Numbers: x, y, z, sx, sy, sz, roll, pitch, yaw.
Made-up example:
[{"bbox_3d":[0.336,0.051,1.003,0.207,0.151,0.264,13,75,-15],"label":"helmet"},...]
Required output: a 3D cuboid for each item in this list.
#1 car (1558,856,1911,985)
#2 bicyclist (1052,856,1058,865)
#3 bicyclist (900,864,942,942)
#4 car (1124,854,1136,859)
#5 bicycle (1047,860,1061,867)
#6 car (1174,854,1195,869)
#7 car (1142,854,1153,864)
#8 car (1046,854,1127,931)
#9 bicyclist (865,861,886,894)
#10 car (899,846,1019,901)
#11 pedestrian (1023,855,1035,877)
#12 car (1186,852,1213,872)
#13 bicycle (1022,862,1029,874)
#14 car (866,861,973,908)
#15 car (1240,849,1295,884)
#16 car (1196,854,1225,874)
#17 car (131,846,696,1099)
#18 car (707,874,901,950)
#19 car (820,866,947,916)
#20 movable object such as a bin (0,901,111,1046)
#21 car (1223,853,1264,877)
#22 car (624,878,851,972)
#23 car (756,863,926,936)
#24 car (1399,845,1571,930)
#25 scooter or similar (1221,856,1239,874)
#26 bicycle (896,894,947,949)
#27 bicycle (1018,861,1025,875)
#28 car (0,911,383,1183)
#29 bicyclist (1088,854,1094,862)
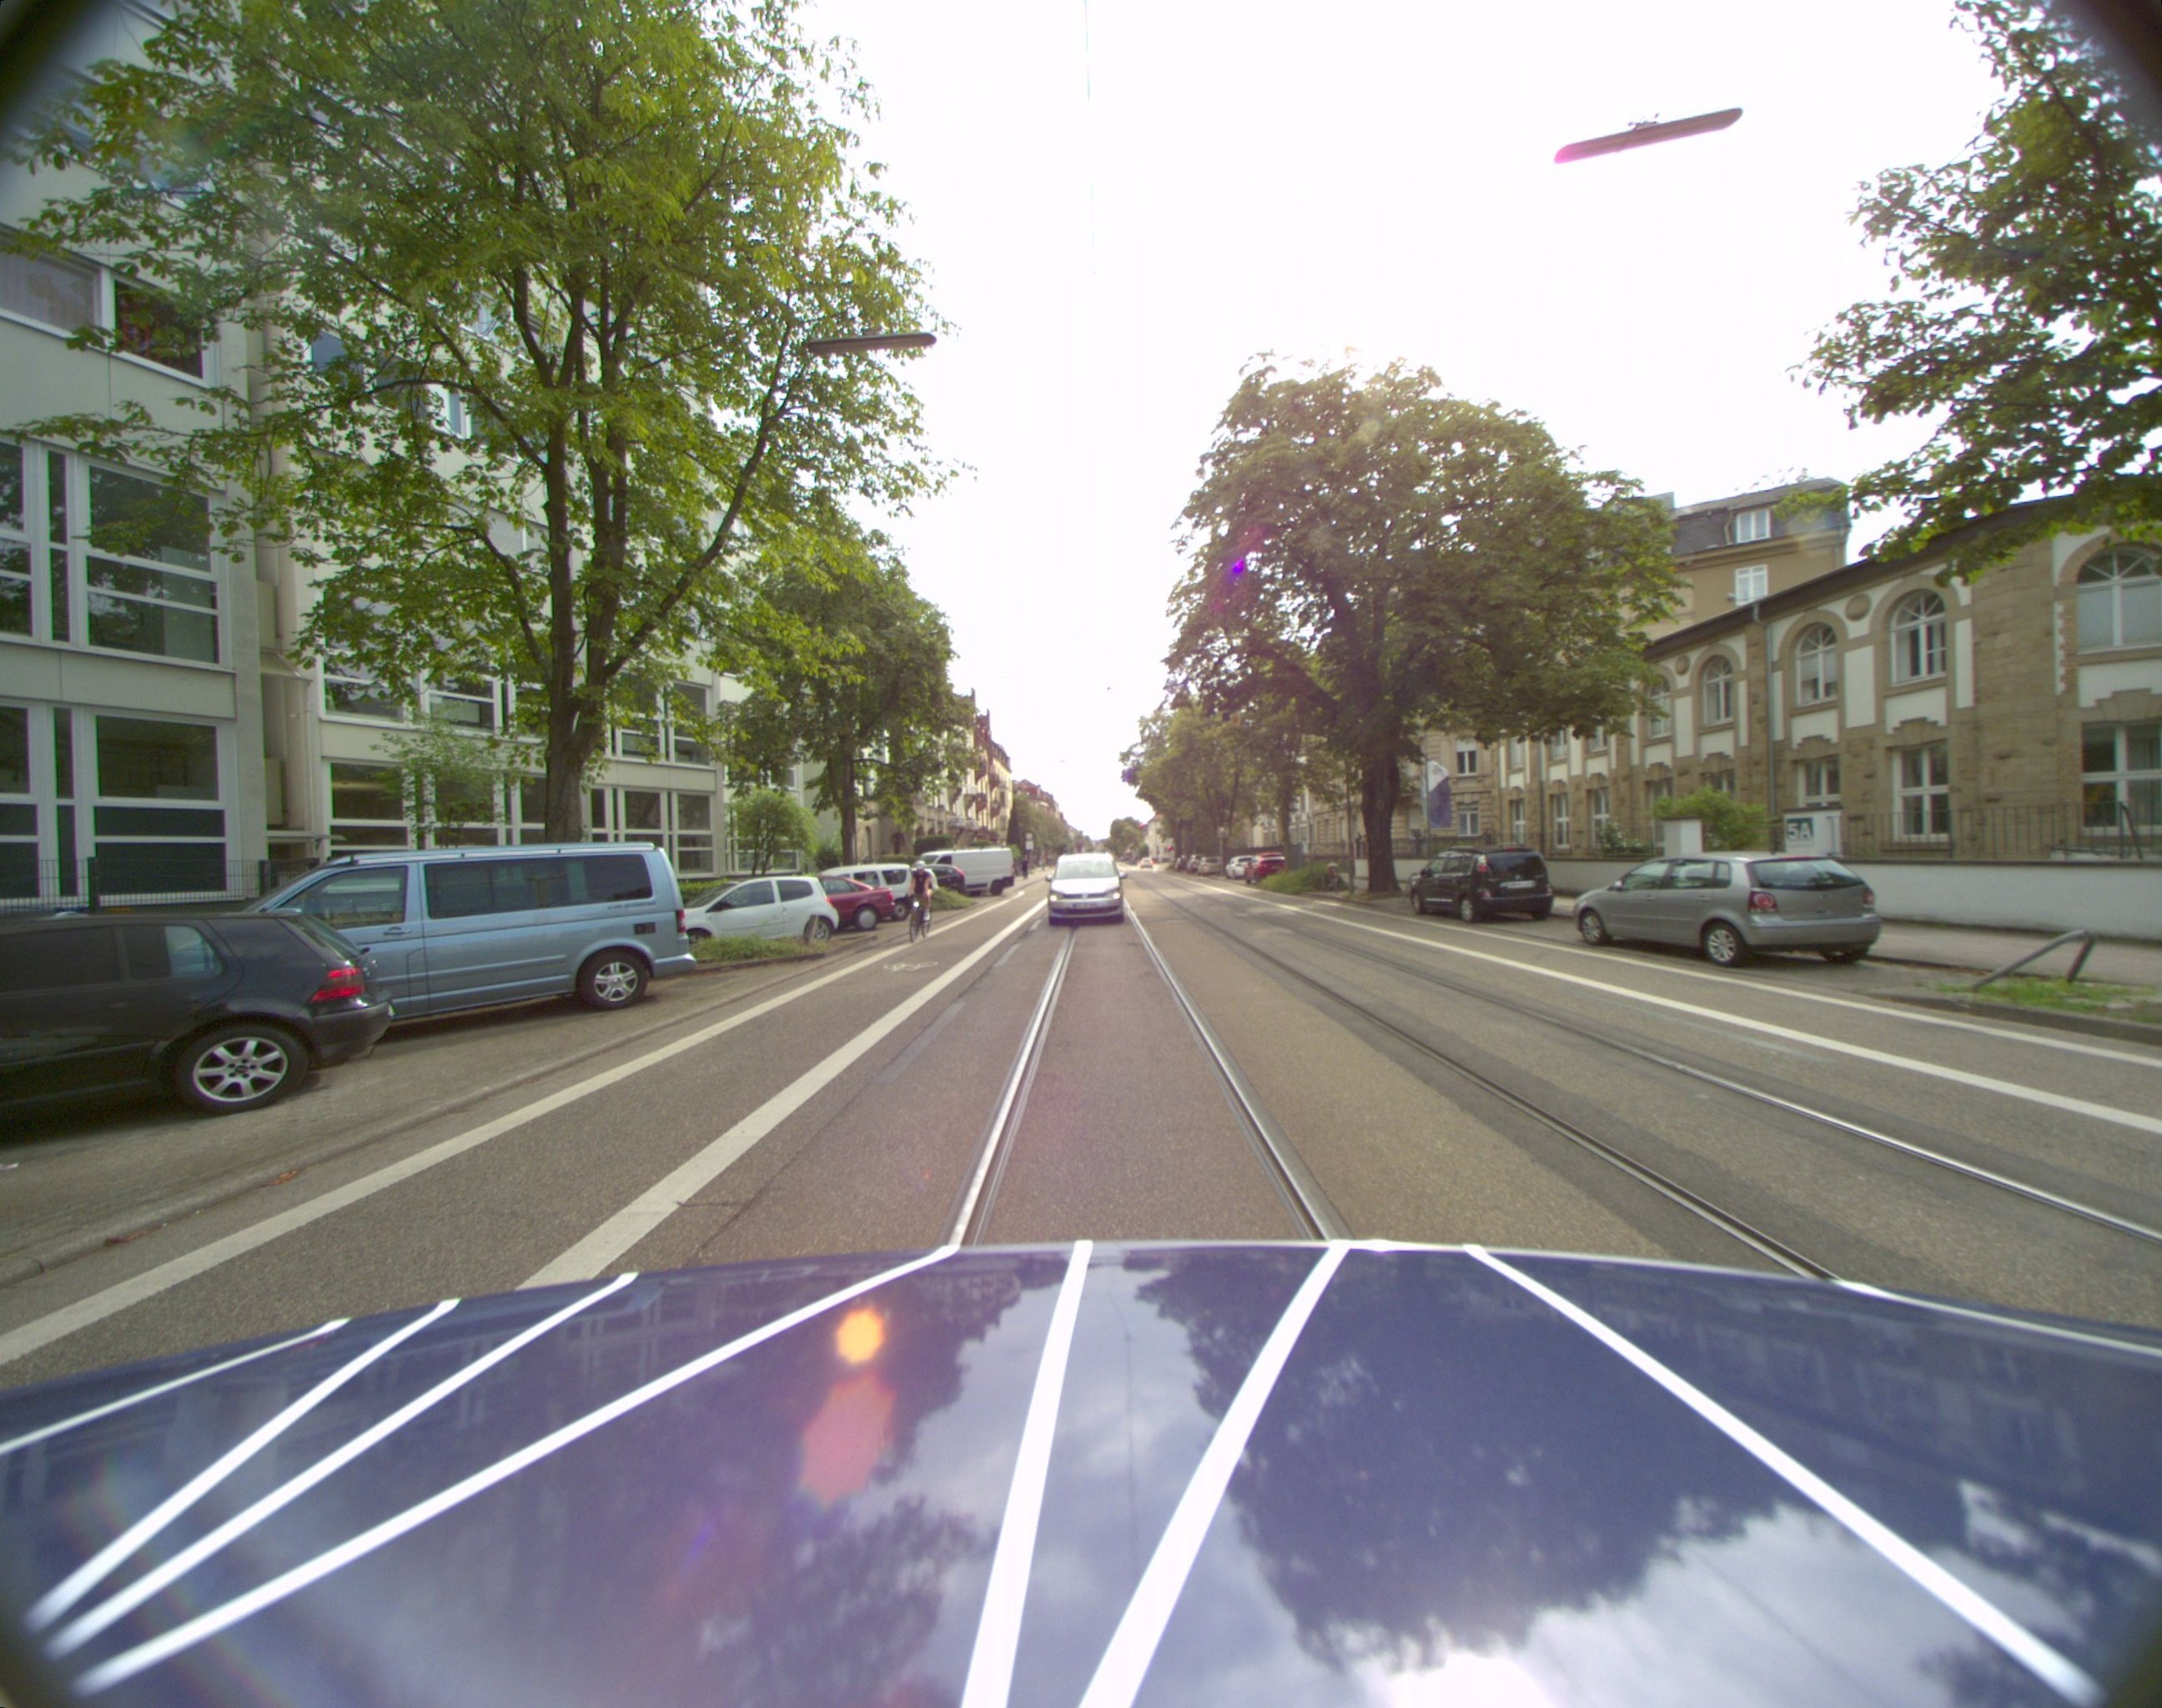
[{"bbox_3d":[8.874,0.780,10.835,1.697,1.419,3.868,-3,0,1],"label":"car"},{"bbox_3d":[-4.340,1.054,125.693,0.709,1.421,0.616,-2,1,22],"label":"bicyclist"},{"bbox_3d":[-3.348,1.000,15.963,0.640,1.561,1.110,-1,0,-1],"label":"bicyclist"},{"bbox_3d":[16.565,0.910,258.873,3.996,1.716,1.877,-3,0,4],"label":"car"},{"bbox_3d":[-4.422,1.570,125.724,2.195,1.019,0.616,-2,0,22],"label":"bicycle"},{"bbox_3d":[10.723,0.795,78.818,1.724,1.416,4.167,-4,0,3],"label":"car"},{"bbox_3d":[9.336,0.653,106.426,1.574,1.408,4.002,0,0,5],"label":"car"},{"bbox_3d":[0.203,0.876,19.473,1.767,1.661,4.330,-3,0,2],"label":"car"},{"bbox_3d":[-9.434,1.072,34.956,0.648,1.461,0.801,0,0,8],"label":"bicyclist"},{"bbox_3d":[-5.660,0.857,35.656,4.968,2.277,2.378,-3,1,-41],"label":"car"},{"bbox_3d":[-4.002,0.908,58.282,0.787,1.723,0.896,1,0,1],"label":"pedestrian"},{"bbox_3d":[10.383,0.681,66.897,1.714,1.664,4.357,-2,0,1],"label":"car"},{"bbox_3d":[-5.072,1.268,69.425,0.392,1.096,1.759,0,0,2],"label":"bicycle"},{"bbox_3d":[-6.593,1.212,31.277,3.968,1.639,1.685,-3,1,-43],"label":"car"},{"bbox_3d":[9.794,0.634,40.184,1.725,1.645,4.542,-4,0,0],"label":"car"},{"bbox_3d":[10.081,0.775,59.226,1.604,1.459,4.079,-2,0,1],"label":"car"},{"bbox_3d":[-6.942,1.000,8.480,4.284,2.003,1.826,-3,1,-43],"label":"car"},{"bbox_3d":[-6.547,1.300,18.188,3.983,1.424,1.685,-3,1,-41],"label":"car"},{"bbox_3d":[-7.088,1.295,27.553,4.100,1.502,1.685,-3,1,-43],"label":"car"},{"bbox_3d":[-12.161,1.339,8.414,1.072,1.499,1.323,-3,0,2],"label":"movable object such as a bin"},{"bbox_3d":[10.406,0.683,48.995,1.725,1.415,4.023,-4,0,0],"label":"car"},{"bbox_3d":[-6.742,1.300,15.145,3.723,1.424,1.685,-3,1,-43],"label":"car"},{"bbox_3d":[-6.584,1.173,21.111,4.116,1.658,1.685,-3,1,-44],"label":"car"},{"bbox_3d":[9.044,0.681,17.442,1.760,1.637,4.052,-3,0,1],"label":"car"},{"bbox_3d":[10.271,0.776,52.360,0.563,1.216,1.321,-2,0,-22],"label":"scooter or similar"},{"bbox_3d":[-3.334,1.397,16.050,0.640,0.975,2.071,-1,0,-1],"label":"bicycle"},{"bbox_3d":[-5.244,1.221,66.713,0.392,1.135,1.921,0,0,2],"label":"bicycle"},{"bbox_3d":[-7.285,1.284,4.991,1.672,1.451,3.836,-2,1,45],"label":"car"},{"bbox_3d":[1.637,0.677,125.046,0.772,1.357,0.616,-2,1,16],"label":"bicyclist"}]
